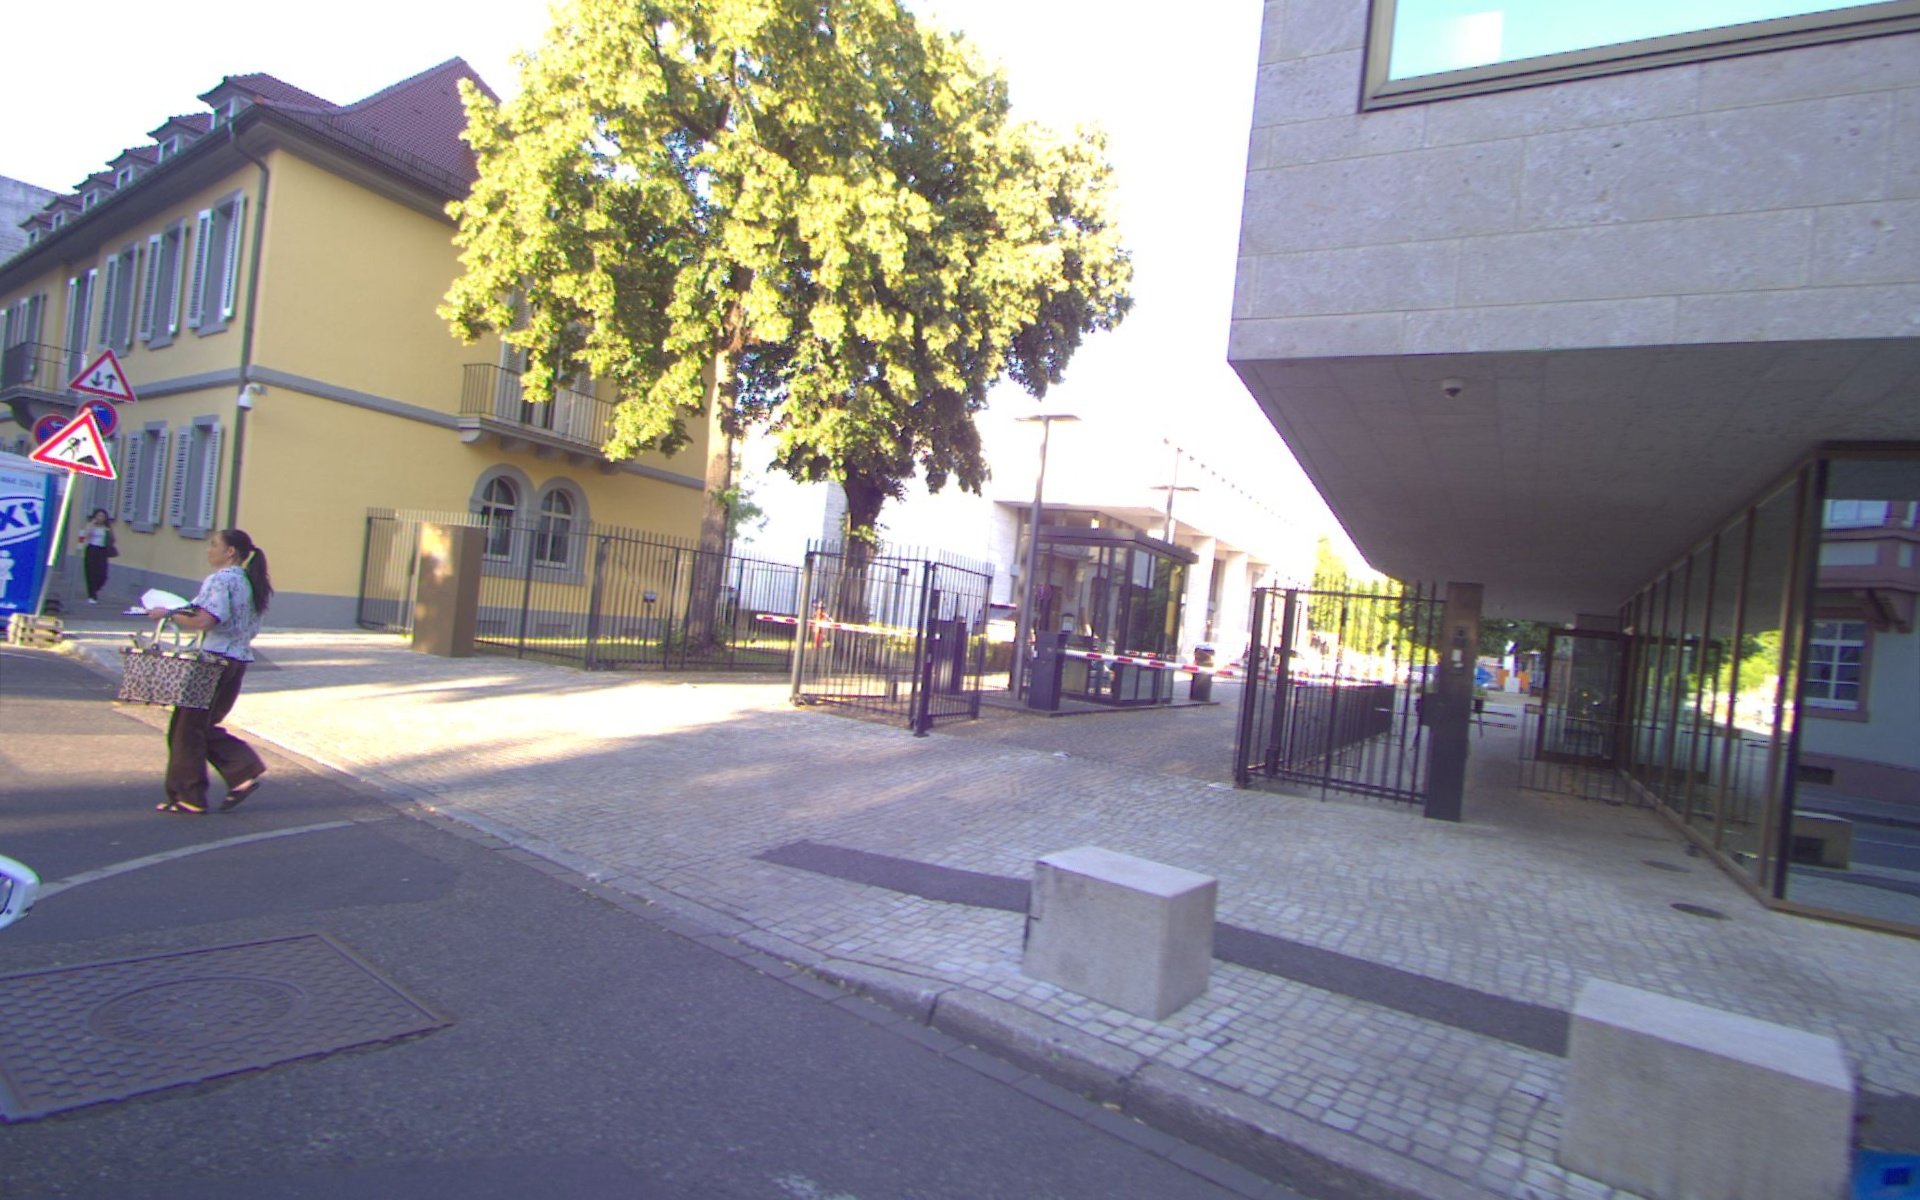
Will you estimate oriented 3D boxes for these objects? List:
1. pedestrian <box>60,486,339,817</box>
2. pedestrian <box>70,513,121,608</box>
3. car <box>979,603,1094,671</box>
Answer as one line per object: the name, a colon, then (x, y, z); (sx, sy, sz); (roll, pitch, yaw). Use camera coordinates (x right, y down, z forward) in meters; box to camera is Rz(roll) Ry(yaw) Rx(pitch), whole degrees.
pedestrian: (-4.225, 0.292, 5.667); (0.945, 1.679, 0.638); (6, 0, -15)
pedestrian: (-15.285, -0.701, 17.789); (0.663, 1.614, 0.466); (6, 0, 40)
car: (2.480, 1.203, 31.685); (1.681, 1.758, 4.054); (8, 1, 33)
